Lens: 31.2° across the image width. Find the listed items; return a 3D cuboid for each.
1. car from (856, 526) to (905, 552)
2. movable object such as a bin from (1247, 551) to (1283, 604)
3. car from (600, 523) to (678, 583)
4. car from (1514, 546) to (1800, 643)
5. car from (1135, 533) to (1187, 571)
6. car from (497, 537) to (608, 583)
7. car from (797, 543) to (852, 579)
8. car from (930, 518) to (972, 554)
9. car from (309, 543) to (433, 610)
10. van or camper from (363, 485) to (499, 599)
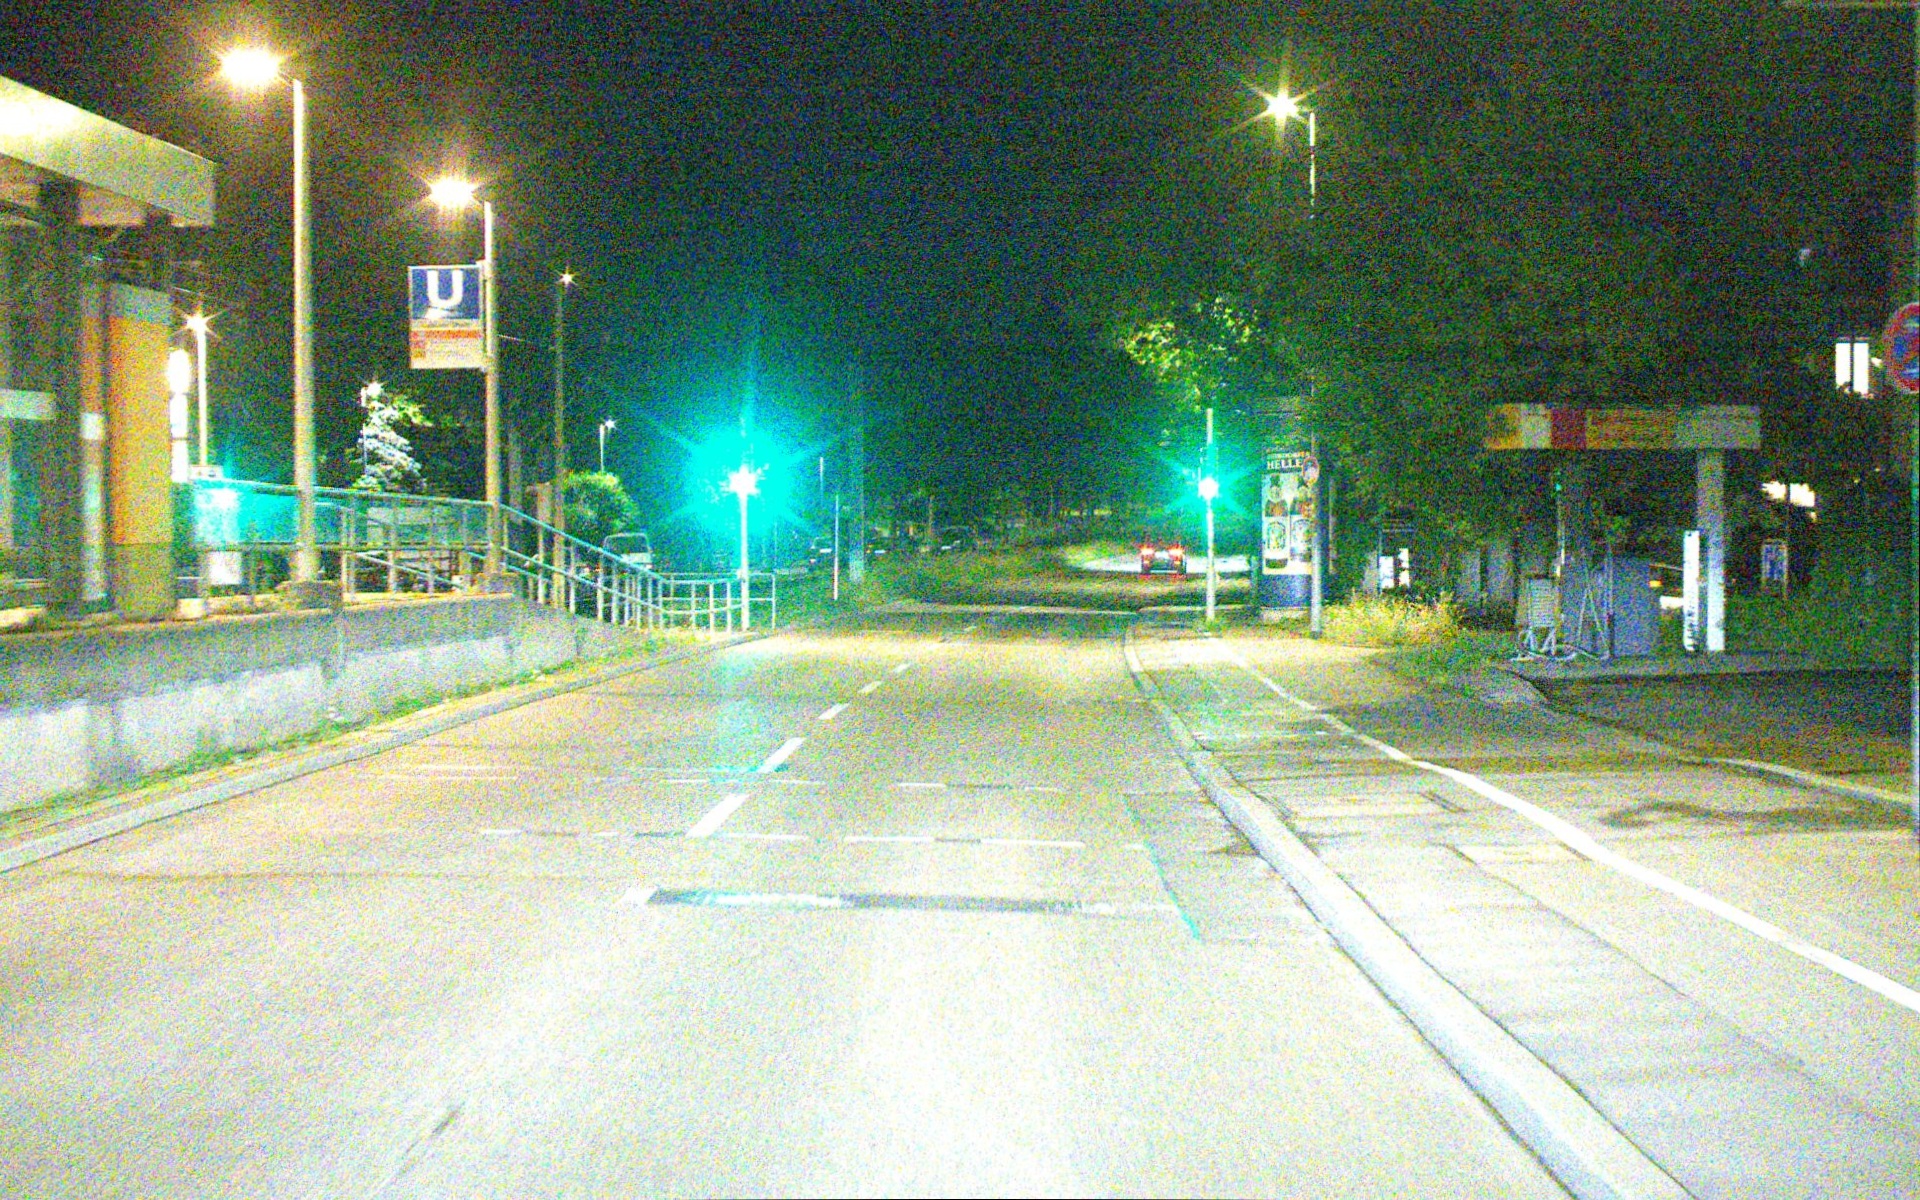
[{"bbox_3d":[-4.142,-3.208,179.527,1.994,1.333,5.431,0,1,5],"label":"car"},{"bbox_3d":[6.935,-0.513,78.107,0.724,1.196,0.719,0,1,12],"label":"movable object such as a bin"},{"bbox_3d":[-10.406,-1.538,111.774,1.857,1.897,4.880,0,1,3],"label":"car"},{"bbox_3d":[9.906,-0.091,49.088,3.764,1.349,1.859,0,1,3],"label":"car"},{"bbox_3d":[8.732,-2.087,149.494,2.162,1.577,4.013,1,1,2],"label":"car"},{"bbox_3d":[-11.875,-1.162,100.281,3.028,1.321,1.534,0,1,1],"label":"car"},{"bbox_3d":[-6.302,-1.823,159.910,1.994,1.622,4.676,0,1,5],"label":"car"},{"bbox_3d":[-0.544,-3.919,209.801,2.092,2.006,4.000,-4,1,5],"label":"car"},{"bbox_3d":[-13.402,-0.555,78.426,1.646,1.335,4.542,-4,1,4],"label":"car"},{"bbox_3d":[-13.002,-1.437,84.830,2.272,2.638,5.664,-2,1,1],"label":"van or camper"}]
